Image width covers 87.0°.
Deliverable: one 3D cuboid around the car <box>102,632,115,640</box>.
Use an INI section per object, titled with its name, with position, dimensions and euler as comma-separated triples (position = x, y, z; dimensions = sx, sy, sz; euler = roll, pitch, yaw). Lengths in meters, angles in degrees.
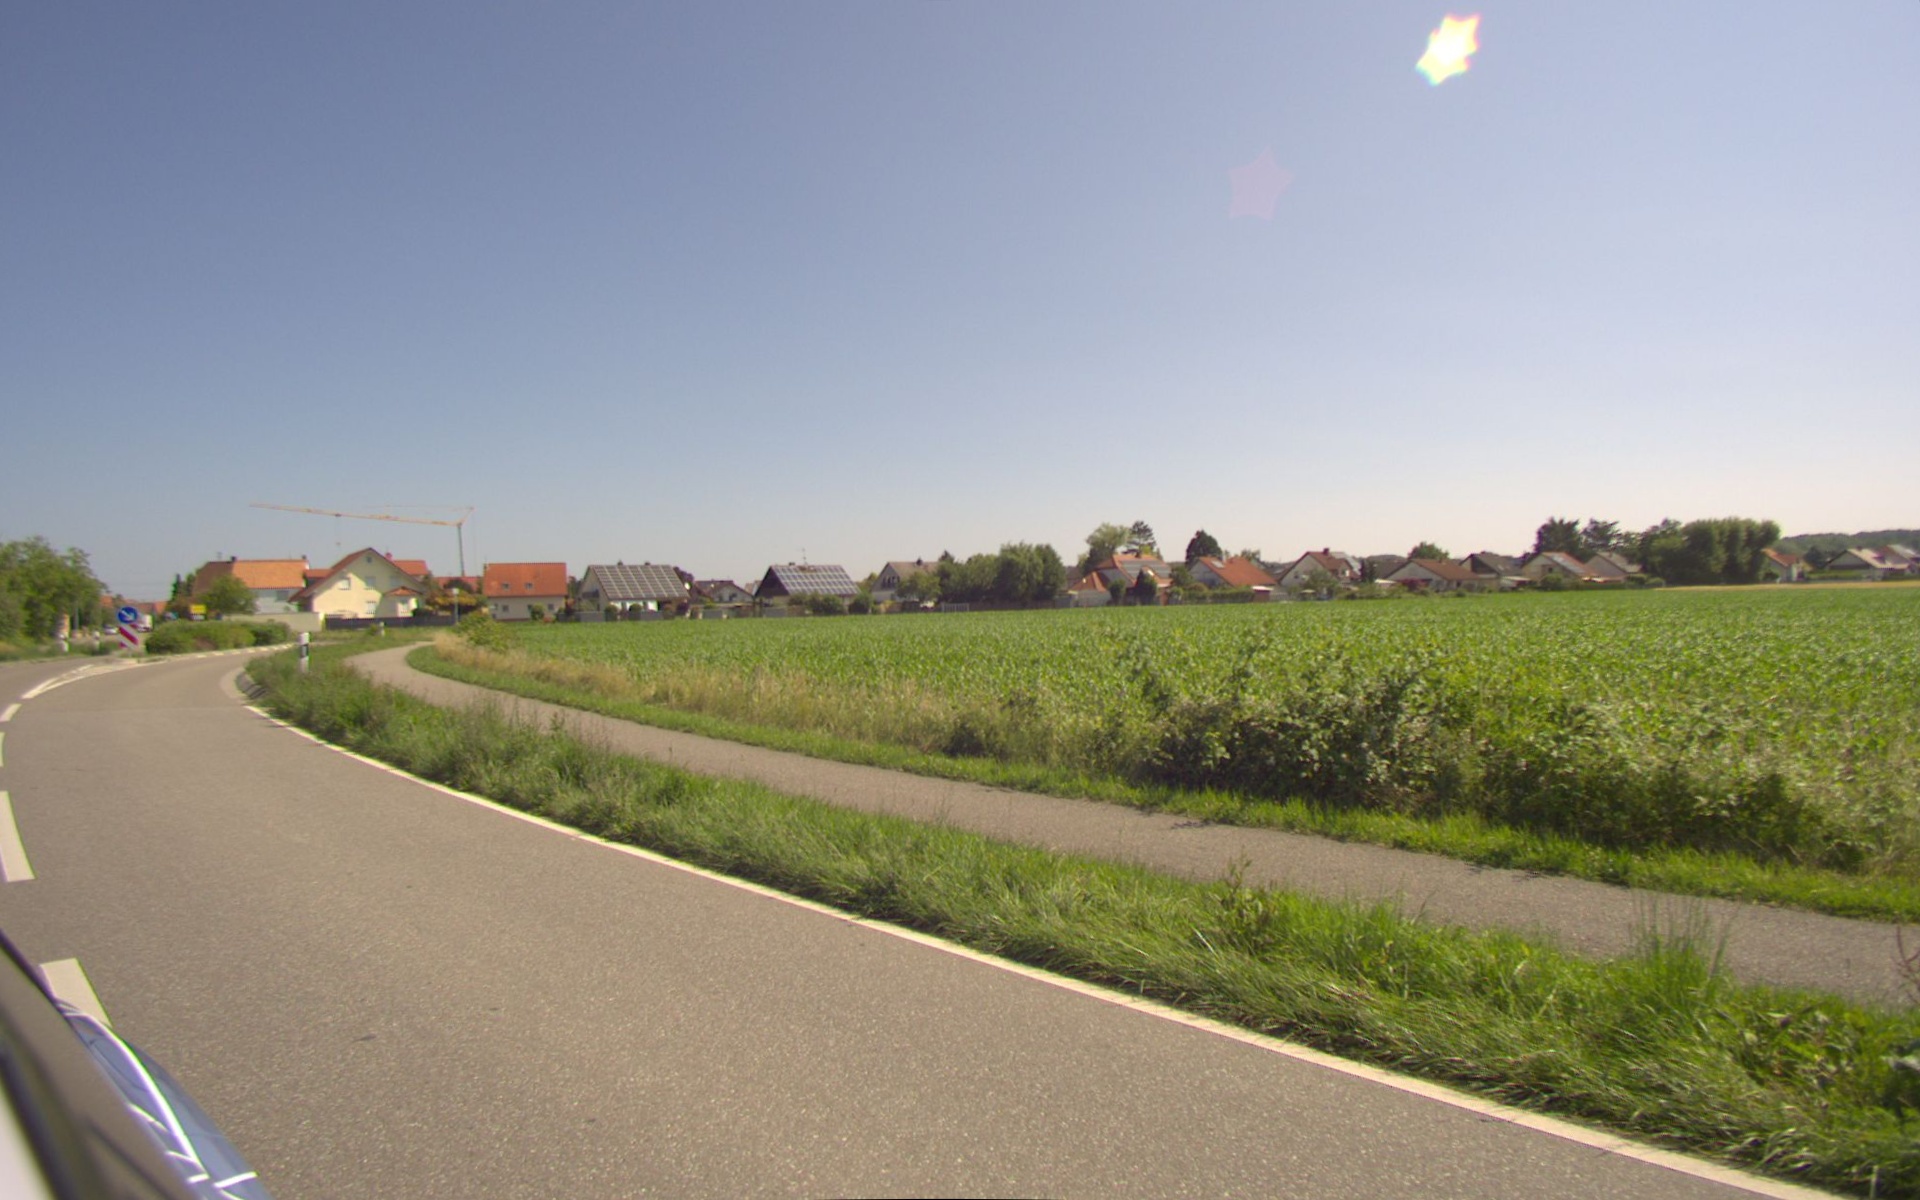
[car]
position = -154.562, 6.518, 183.610
dimensions = 1.707, 1.398, 3.538
euler = -1, -1, -39
